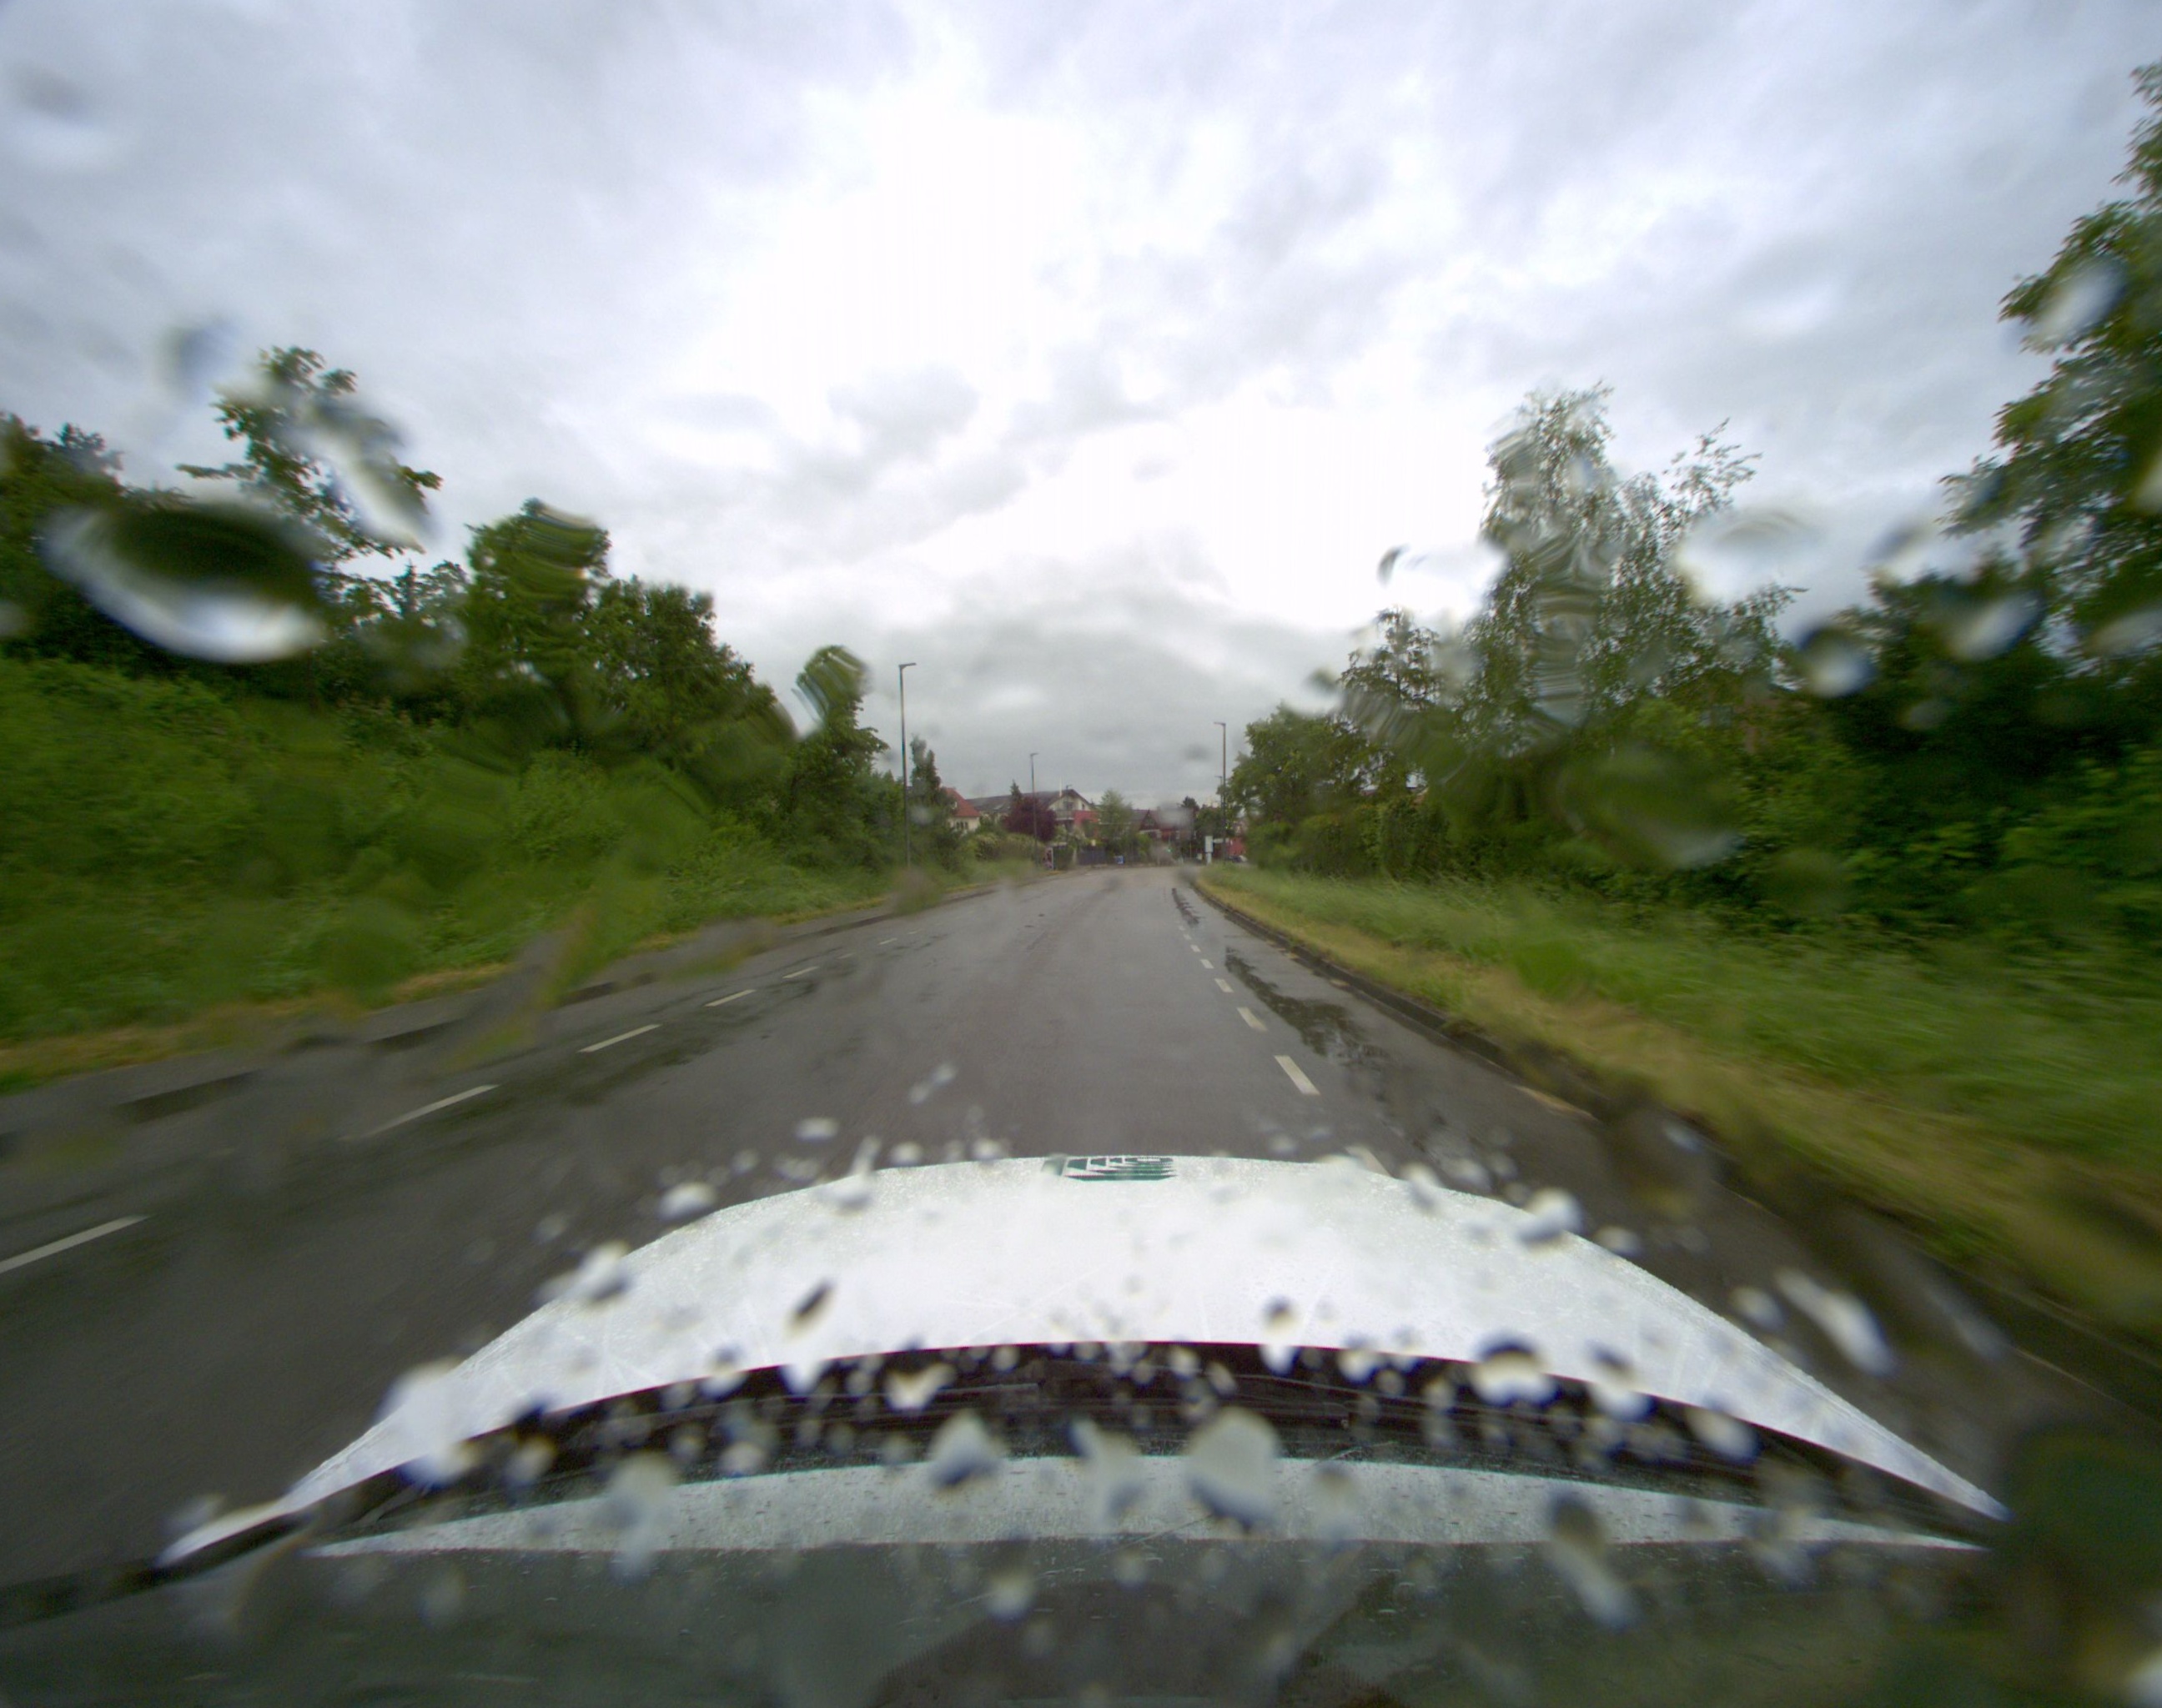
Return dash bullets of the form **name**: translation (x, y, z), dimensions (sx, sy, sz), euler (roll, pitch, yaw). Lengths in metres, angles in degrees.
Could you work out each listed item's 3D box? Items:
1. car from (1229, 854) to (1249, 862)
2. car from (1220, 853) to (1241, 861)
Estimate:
- **car**: translation (31.372, 0.880, 161.775), dimensions (3.427, 1.479, 1.601), euler (-2, -1, 37)
- **car**: translation (28.575, 0.532, 155.868), dimensions (3.541, 1.506, 1.867), euler (1, 1, 39)
